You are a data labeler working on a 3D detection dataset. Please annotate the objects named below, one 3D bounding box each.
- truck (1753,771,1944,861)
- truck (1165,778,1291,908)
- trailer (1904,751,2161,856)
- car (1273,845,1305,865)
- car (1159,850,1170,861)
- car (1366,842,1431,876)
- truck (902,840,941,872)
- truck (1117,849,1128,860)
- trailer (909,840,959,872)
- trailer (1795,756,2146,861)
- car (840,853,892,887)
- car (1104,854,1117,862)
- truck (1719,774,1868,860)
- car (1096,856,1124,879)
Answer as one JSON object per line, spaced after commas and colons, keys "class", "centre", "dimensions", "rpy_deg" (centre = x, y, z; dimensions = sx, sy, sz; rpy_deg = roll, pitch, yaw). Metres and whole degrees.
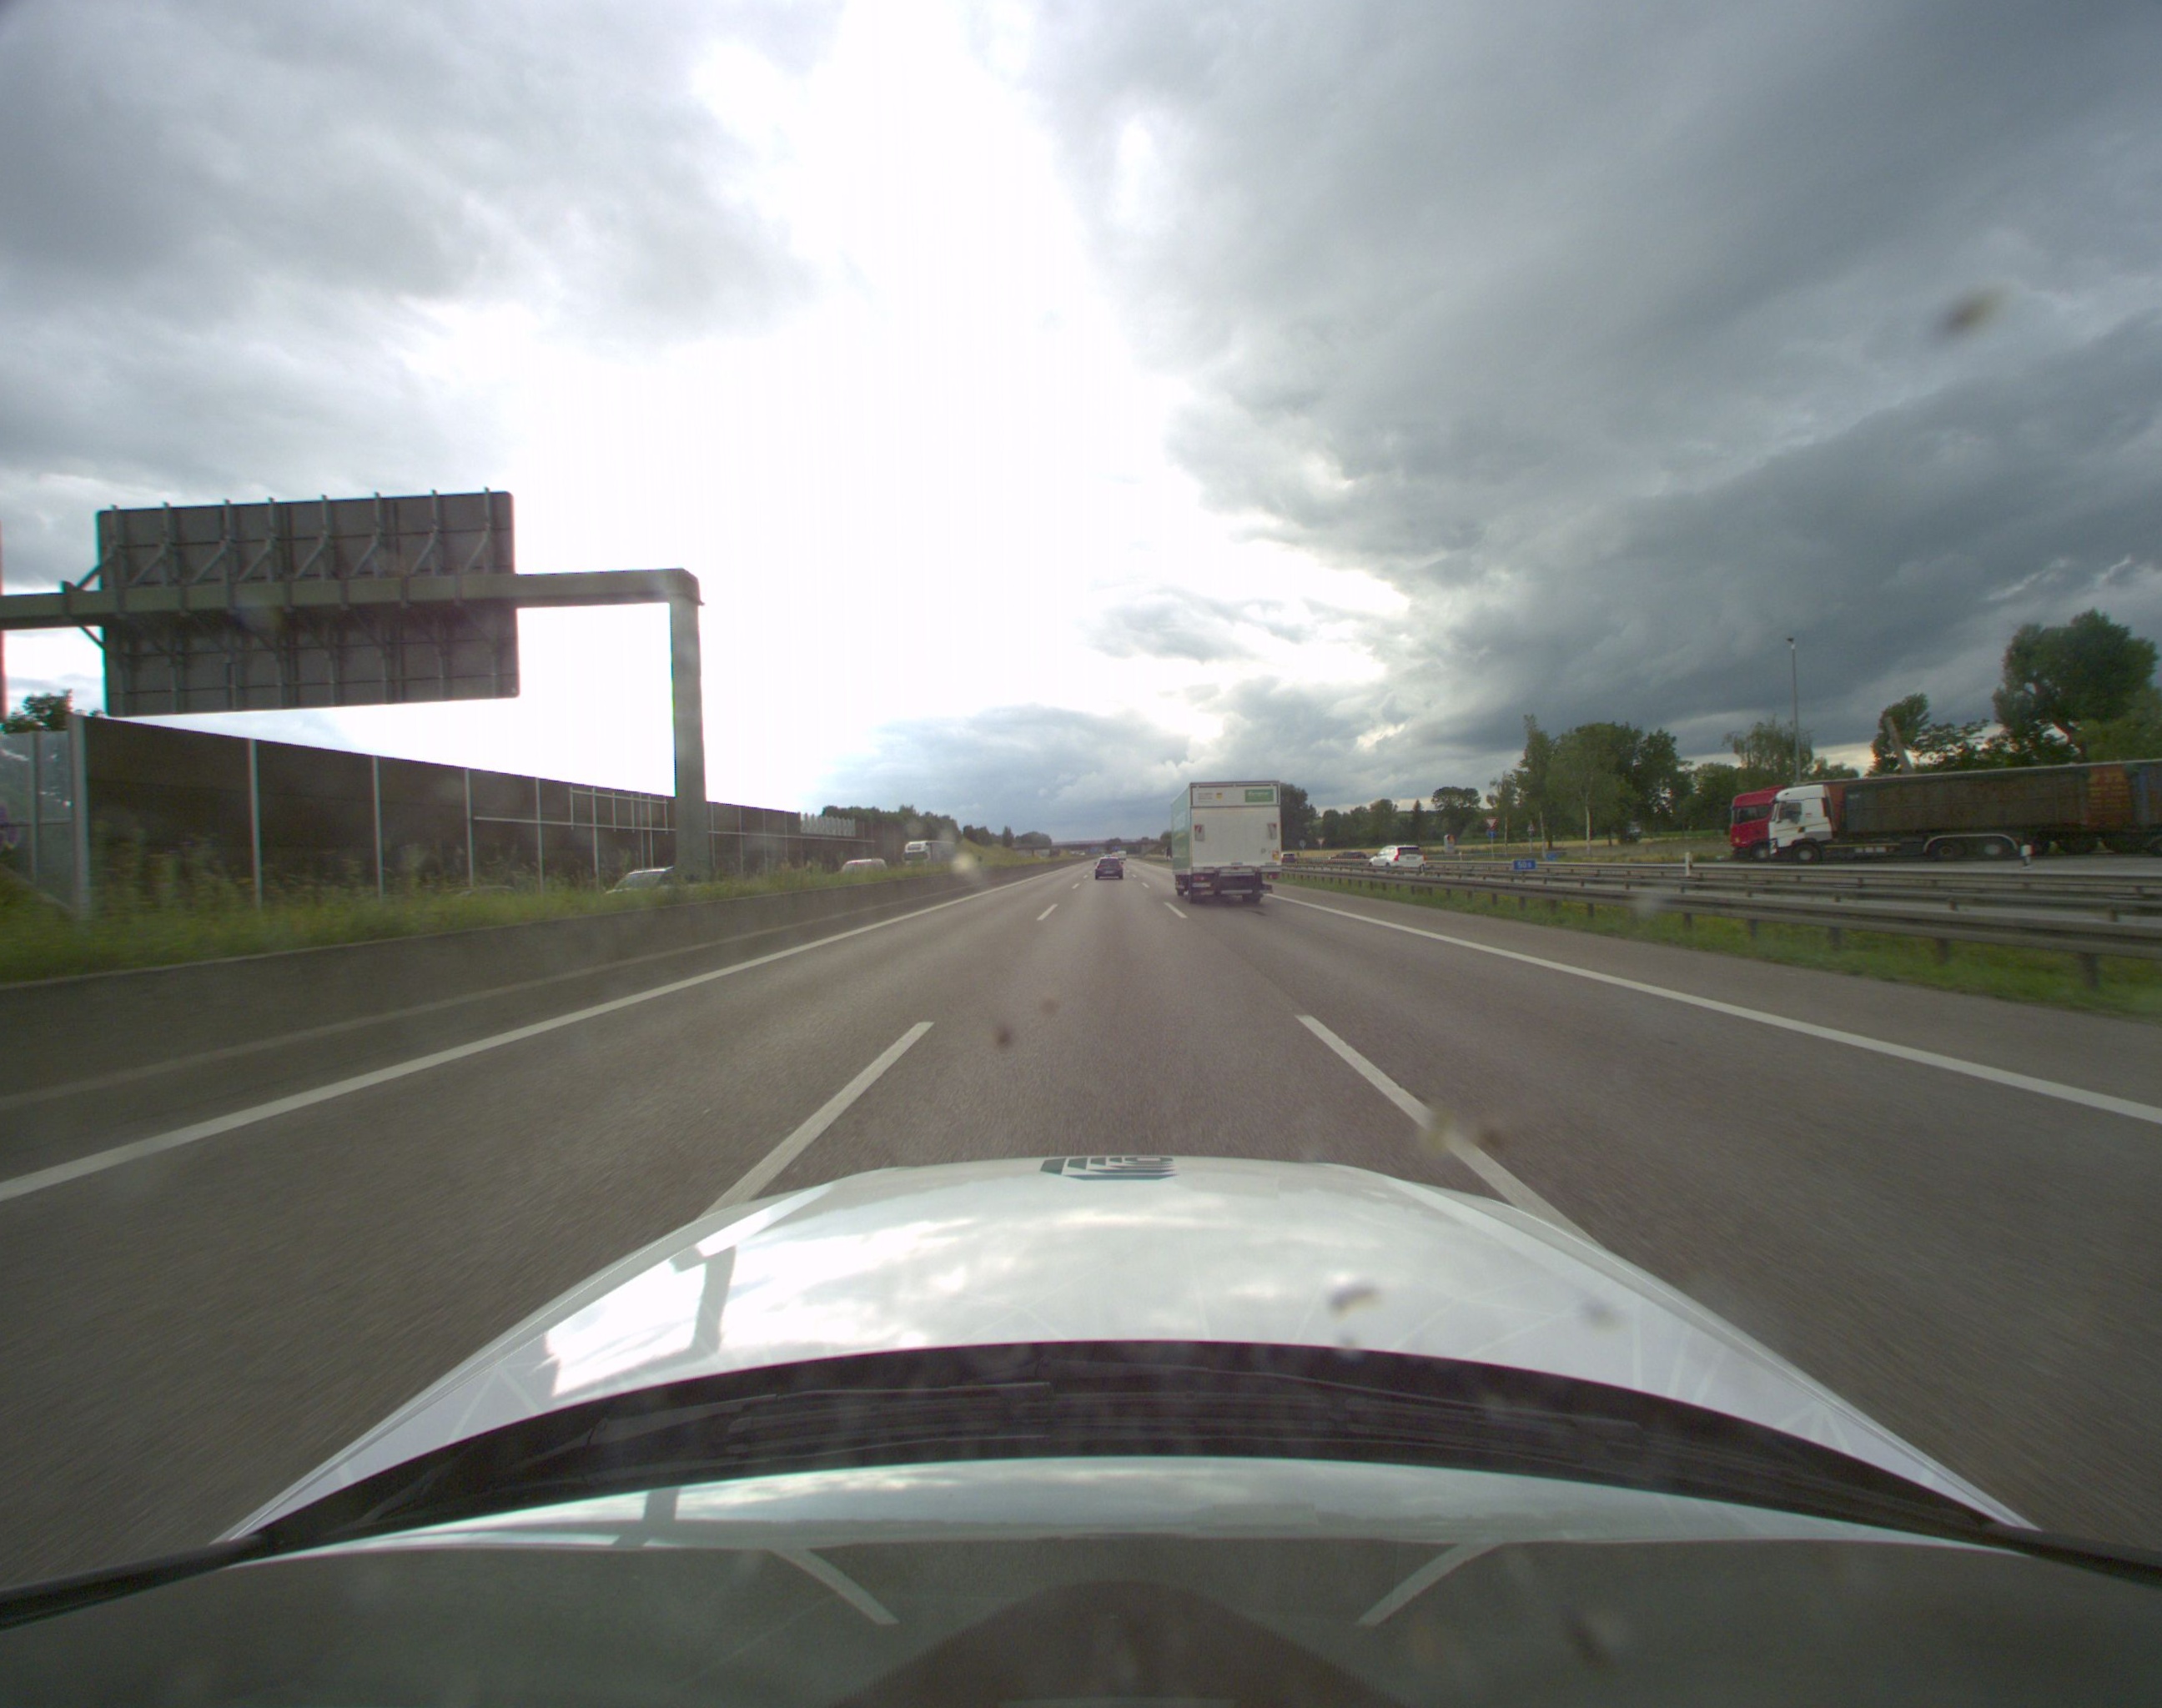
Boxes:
{"class": "truck", "centre": [36.519, -1.673, 38.914], "dimensions": [2.772, 3.850, 6.316], "rpy_deg": [-2, 0, -42]}
{"class": "truck", "centre": [4.462, -0.306, 26.699], "dimensions": [2.759, 3.504, 9.066], "rpy_deg": [-1, 0, 2]}
{"class": "trailer", "centre": [42.204, -2.033, 32.404], "dimensions": [2.763, 3.841, 13.051], "rpy_deg": [-2, 0, -41]}
{"class": "car", "centre": [19.678, 0.062, 77.241], "dimensions": [1.821, 1.757, 5.067], "rpy_deg": [-2, 0, 2]}
{"class": "car", "centre": [21.251, 0.358, 207.190], "dimensions": [2.213, 2.568, 6.259], "rpy_deg": [-1, 0, 2]}
{"class": "car", "centre": [18.099, 0.258, 46.699], "dimensions": [1.821, 1.757, 5.067], "rpy_deg": [-2, 0, 2]}
{"class": "truck", "centre": [-17.202, 0.234, 88.116], "dimensions": [2.814, 3.227, 5.983], "rpy_deg": [-2, 0, 2]}
{"class": "truck", "centre": [11.672, 0.091, 228.594], "dimensions": [2.700, 2.964, 12.451], "rpy_deg": [0, 0, 2]}
{"class": "trailer", "centre": [-16.970, 0.256, 94.920], "dimensions": [2.809, 3.377, 13.515], "rpy_deg": [-2, 0, 2]}
{"class": "trailer", "centre": [41.590, -1.879, 38.882], "dimensions": [2.612, 4.225, 10.976], "rpy_deg": [0, -1, -41]}
{"class": "car", "centre": [-11.427, 0.823, 43.494], "dimensions": [1.706, 1.696, 3.708], "rpy_deg": [0, 0, 2]}
{"class": "car", "centre": [4.850, 0.626, 133.237], "dimensions": [1.986, 1.298, 4.001], "rpy_deg": [-3, 0, 1]}
{"class": "truck", "centre": [37.711, -1.795, 43.232], "dimensions": [2.606, 4.254, 5.625], "rpy_deg": [0, -1, -42]}
{"class": "car", "centre": [1.850, 0.833, 52.273], "dimensions": [1.737, 1.389, 4.002], "rpy_deg": [-1, 0, 2]}
